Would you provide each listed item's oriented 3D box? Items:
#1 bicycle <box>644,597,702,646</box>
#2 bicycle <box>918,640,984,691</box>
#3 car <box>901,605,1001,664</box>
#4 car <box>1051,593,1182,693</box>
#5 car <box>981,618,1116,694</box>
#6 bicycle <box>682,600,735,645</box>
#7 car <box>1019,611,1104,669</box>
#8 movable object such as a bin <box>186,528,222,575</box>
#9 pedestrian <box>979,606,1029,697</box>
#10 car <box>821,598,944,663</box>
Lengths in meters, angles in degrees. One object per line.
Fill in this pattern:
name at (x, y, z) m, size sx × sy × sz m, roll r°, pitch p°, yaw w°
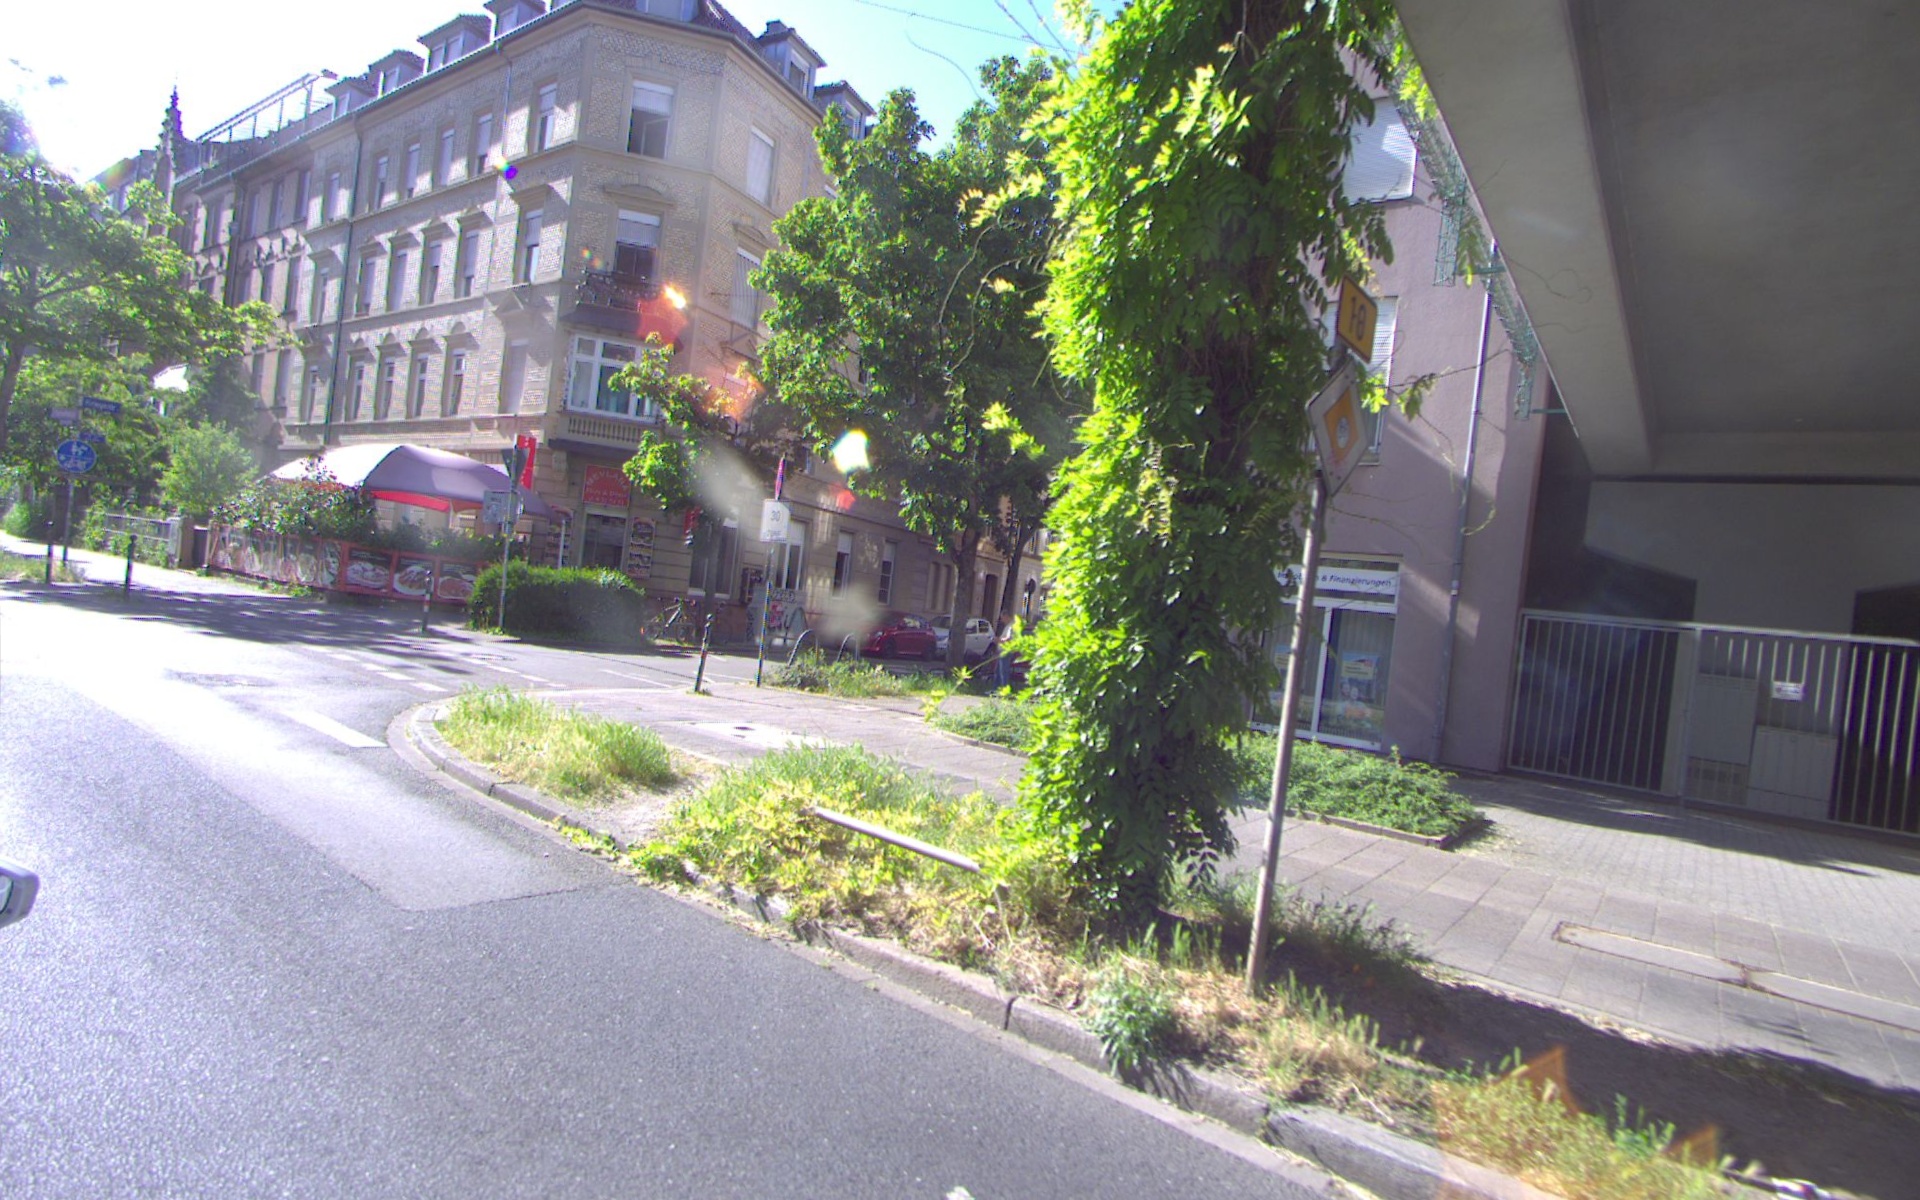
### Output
bicycle at (-6.401, 0.492, 22.501) m, size 0.386 × 0.986 × 1.312 m, roll 7°, pitch 0°, yaw 26°
bicycle at (-0.183, 1.255, 19.305) m, size 1.182 × 0.833 × 0.293 m, roll 7°, pitch 1°, yaw 27°
car at (-0.234, 1.234, 34.503) m, size 1.665 × 1.614 × 3.999 m, roll 7°, pitch -2°, yaw 26°
car at (4.709, 1.295, 29.533) m, size 2.181 × 2.481 × 5.091 m, roll 7°, pitch 0°, yaw 26°
car at (2.206, 1.360, 24.024) m, size 1.663 × 1.480 × 3.995 m, roll 6°, pitch -1°, yaw 28°
bicycle at (-6.012, 0.540, 24.085) m, size 0.386 × 0.986 × 1.312 m, roll 7°, pitch 0°, yaw 26°
car at (4.401, 1.766, 43.195) m, size 1.963 × 2.053 × 4.300 m, roll 7°, pitch -2°, yaw 28°
movable object such as a bin at (-20.198, -1.297, 26.880) m, size 0.543 × 1.147 × 0.568 m, roll 7°, pitch 1°, yaw 38°
pedestrian at (0.808, 0.953, 18.637) m, size 0.525 × 1.596 × 0.629 m, roll 6°, pitch 1°, yaw -28°
car at (-2.267, 0.972, 30.502) m, size 1.747 × 1.457 × 3.999 m, roll 10°, pitch -1°, yaw 26°
